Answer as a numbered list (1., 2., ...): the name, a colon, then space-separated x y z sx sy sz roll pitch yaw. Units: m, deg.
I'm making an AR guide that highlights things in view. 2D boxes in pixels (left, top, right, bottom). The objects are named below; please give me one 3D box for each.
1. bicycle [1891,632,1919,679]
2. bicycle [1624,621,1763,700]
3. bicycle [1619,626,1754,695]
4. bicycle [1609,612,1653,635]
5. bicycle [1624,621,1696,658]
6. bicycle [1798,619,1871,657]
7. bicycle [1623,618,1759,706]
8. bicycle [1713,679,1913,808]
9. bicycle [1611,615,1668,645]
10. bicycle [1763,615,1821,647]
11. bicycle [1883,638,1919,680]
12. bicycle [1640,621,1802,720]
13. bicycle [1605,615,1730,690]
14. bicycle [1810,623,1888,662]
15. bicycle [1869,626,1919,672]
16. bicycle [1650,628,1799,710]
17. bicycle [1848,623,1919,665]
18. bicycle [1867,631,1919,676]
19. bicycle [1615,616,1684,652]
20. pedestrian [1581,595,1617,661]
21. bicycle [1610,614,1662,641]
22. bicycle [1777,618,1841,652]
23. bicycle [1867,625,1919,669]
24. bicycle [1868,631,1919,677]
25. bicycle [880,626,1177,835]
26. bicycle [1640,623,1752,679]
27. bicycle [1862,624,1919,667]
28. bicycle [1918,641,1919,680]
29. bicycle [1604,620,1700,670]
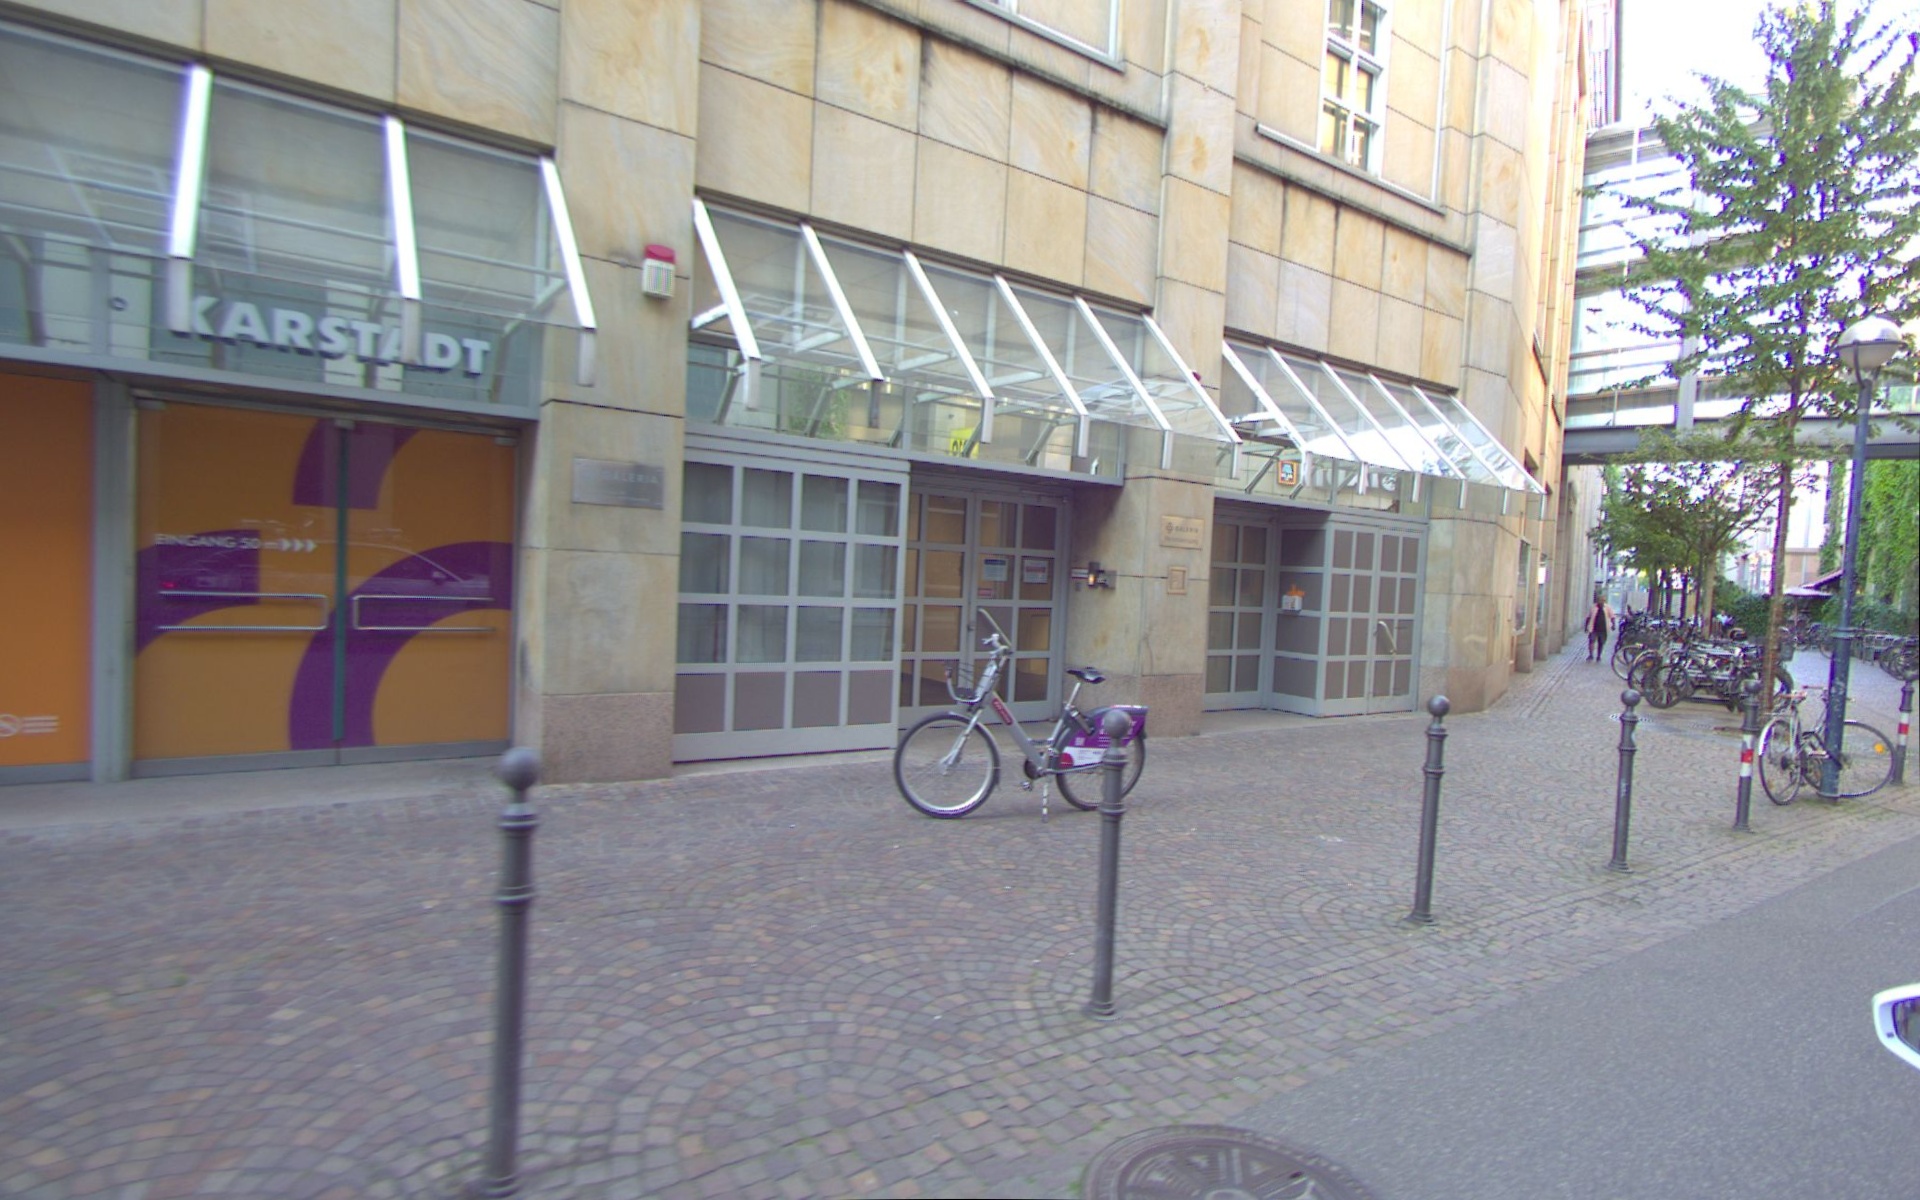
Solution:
1. bicycle: 23.069 1.339 23.676 1.519 1.063 0.573 3 2 35
2. bicycle: 12.533 1.007 17.227 1.846 1.193 0.533 3 1 33
3. bicycle: 12.798 1.040 17.766 1.867 1.066 0.533 3 1 33
4. bicycle: 35.789 1.231 53.625 1.877 1.127 0.480 3 1 31
5. bicycle: 21.496 1.196 30.899 1.755 1.033 0.480 3 1 33
6. bicycle: 29.292 1.257 33.683 1.749 1.129 0.541 3 2 35
7. bicycle: 11.371 0.940 15.689 1.630 1.247 0.533 3 1 33
8. bicycle: 7.123 1.169 8.384 1.634 0.951 0.492 2 3 -21
9. bicycle: 27.915 1.211 41.318 1.877 1.127 0.480 3 1 33
10. bicycle: 34.663 1.280 41.870 1.749 1.206 0.584 3 2 35
11. bicycle: 22.390 1.384 23.003 1.749 0.916 0.462 3 2 35
12. bicycle: 10.787 0.968 14.313 1.741 1.247 0.533 3 1 33
13. bicycle: 13.047 0.947 18.582 1.807 1.241 0.533 3 1 33
14. bicycle: 28.290 1.344 31.988 1.749 1.129 0.541 3 2 35
15. bicycle: 25.320 1.320 26.597 1.749 1.129 0.541 3 2 35
16. bicycle: 12.180 1.075 16.075 1.811 1.137 0.533 3 1 33
17. bicycle: 27.305 1.283 29.486 1.749 1.129 0.541 3 2 35
18. bicycle: 24.435 1.391 25.832 1.519 1.063 0.573 3 2 35
19. bicycle: 21.844 1.072 31.856 1.755 1.033 0.480 3 1 33
20. pedestrian: 15.987 0.691 25.129 0.688 1.604 0.717 3 1 33
21. bicycle: 30.298 1.213 45.042 1.877 1.127 0.480 3 1 33
22. bicycle: 31.545 1.281 37.346 1.751 1.129 0.540 3 2 38
23. bicycle: 26.031 1.302 27.439 1.749 1.129 0.541 3 2 35
24. bicycle: 23.493 1.352 24.764 1.519 1.063 0.573 3 2 35
25. bicycle: 0.427 0.772 6.218 1.737 1.153 0.521 2 2 -19
26. bicycle: 15.643 1.073 21.413 1.850 1.057 0.533 3 1 33
27. bicycle: 26.788 1.299 28.438 1.749 1.129 0.541 3 2 35
28. bicycle: 22.162 1.333 21.852 1.823 0.995 0.462 3 2 35
29. bicycle: 16.234 1.041 23.622 1.799 1.057 0.533 3 1 33
